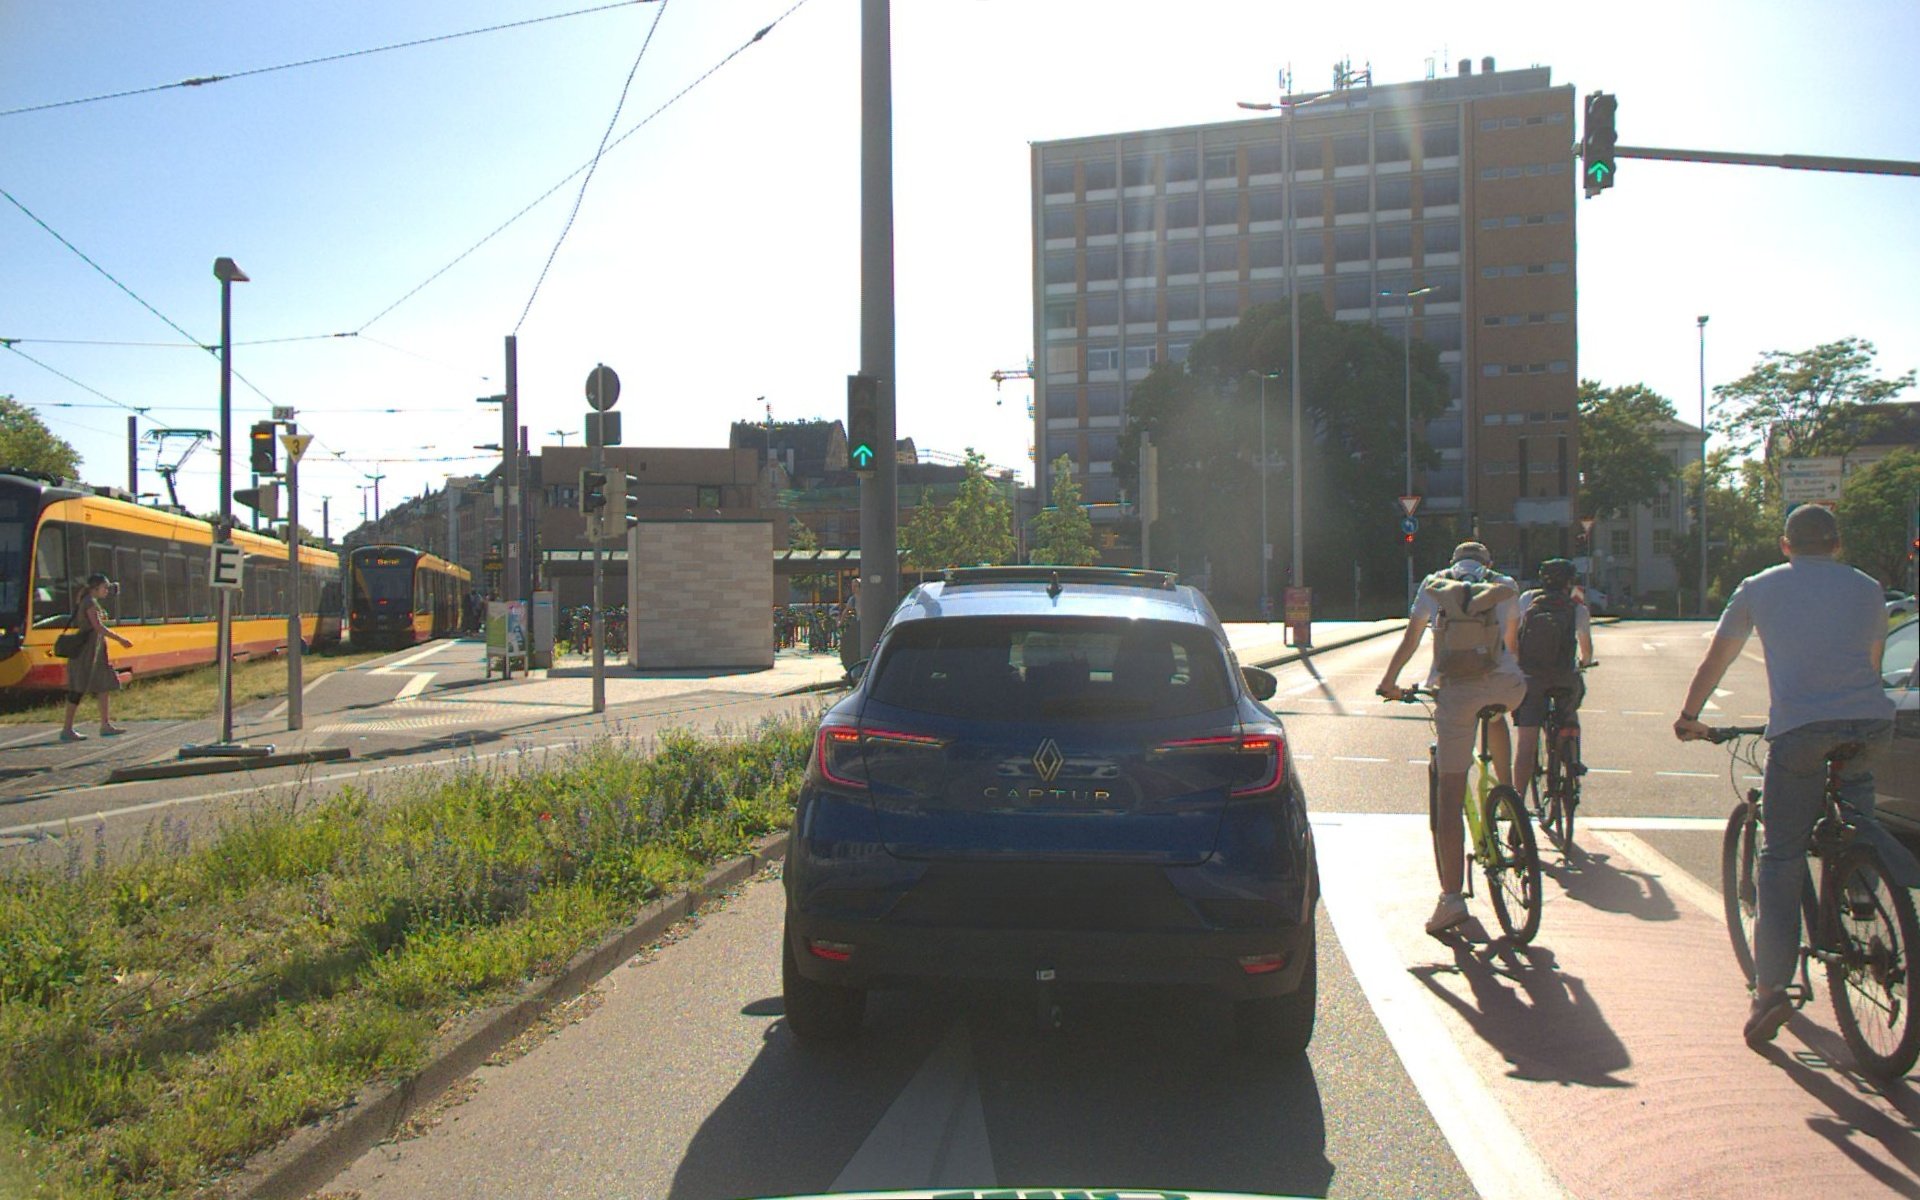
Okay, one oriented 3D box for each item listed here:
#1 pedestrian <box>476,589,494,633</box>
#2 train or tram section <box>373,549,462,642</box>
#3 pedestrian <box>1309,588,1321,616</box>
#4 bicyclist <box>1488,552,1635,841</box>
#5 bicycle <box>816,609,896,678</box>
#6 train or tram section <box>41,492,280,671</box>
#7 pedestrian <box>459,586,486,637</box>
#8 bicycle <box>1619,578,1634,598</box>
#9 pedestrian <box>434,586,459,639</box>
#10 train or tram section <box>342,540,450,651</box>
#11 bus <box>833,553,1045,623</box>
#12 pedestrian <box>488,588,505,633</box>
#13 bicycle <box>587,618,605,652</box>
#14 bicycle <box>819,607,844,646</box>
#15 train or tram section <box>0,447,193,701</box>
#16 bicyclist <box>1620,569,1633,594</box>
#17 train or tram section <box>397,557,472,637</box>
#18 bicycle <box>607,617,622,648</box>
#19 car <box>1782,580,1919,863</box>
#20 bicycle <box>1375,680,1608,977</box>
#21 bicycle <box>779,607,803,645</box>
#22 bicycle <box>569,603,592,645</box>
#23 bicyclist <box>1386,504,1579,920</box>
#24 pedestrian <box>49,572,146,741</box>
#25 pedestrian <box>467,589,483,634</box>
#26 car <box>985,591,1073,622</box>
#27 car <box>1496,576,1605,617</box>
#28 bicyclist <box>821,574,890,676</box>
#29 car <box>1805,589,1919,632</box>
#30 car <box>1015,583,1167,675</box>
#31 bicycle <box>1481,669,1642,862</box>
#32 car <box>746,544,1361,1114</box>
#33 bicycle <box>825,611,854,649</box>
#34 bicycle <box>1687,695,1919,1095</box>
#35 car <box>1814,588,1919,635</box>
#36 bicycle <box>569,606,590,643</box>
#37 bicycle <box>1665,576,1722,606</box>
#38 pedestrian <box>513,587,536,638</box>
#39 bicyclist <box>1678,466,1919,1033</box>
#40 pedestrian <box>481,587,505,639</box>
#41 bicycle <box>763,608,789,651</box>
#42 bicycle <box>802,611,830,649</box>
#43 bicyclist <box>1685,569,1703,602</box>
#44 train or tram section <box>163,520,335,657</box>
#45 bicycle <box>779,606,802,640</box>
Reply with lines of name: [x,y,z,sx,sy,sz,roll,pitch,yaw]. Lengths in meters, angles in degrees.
pedestrian: [-20.889,0.485,72.722,0.688,1.889,0.632,1,-1,-12]
train or tram section: [-22.455,-0.171,68.914,2.823,3.569,10.502,0,0,-14]
pedestrian: [21.319,0.113,99.239,0.551,1.699,0.474,-1,-2,36]
bicyclist: [3.633,0.548,10.065,0.706,1.654,1.056,1,0,13]
bicycle: [-1.738,0.721,27.904,0.756,1.099,2.037,-1,-1,13]
train or tram section: [-18.151,-0.358,38.381,2.768,3.569,10.573,0,0,-14]
pedestrian: [-18.224,0.429,61.812,0.591,1.889,0.794,0,-1,19]
bicycle: [38.561,-0.705,95.649,0.597,1.112,1.669,-1,0,29]
pedestrian: [-18.739,0.468,60.359,0.833,1.916,0.757,1,-1,-16]
train or tram section: [-19.876,-0.145,58.820,2.823,3.569,10.502,0,0,-14]
bus: [-1.275,-0.529,86.739,12.212,3.455,2.868,-1,-2,40]
pedestrian: [-19.833,0.455,70.802,0.621,1.889,0.701,1,-1,-11]
bicycle: [-10.451,1.000,47.451,0.415,0.954,1.300,1,0,-15]
bicycle: [-3.790,0.775,48.691,0.570,1.107,2.054,1,-1,-9]
train or tram section: [-15.581,-0.346,28.128,2.771,3.569,10.437,-1,0,-15]
bicyclist: [38.564,-1.071,95.656,0.606,1.469,0.818,-1,0,29]
train or tram section: [-25.011,-0.163,79.100,2.823,3.569,10.502,0,0,-14]
bicycle: [-10.957,1.017,52.465,0.414,0.954,1.375,1,0,-12]
car: [6.238,0.685,9.445,1.718,1.568,3.662,1,0,9]
bicycle: [2.381,0.966,7.618,0.648,1.065,1.892,0,1,6]
bicycle: [-4.975,0.766,48.601,0.570,1.107,2.054,1,-1,-9]
bicycle: [-10.492,0.664,45.733,0.556,1.112,2.023,1,-1,-11]
bicyclist: [2.372,0.480,7.607,0.649,1.778,1.006,0,0,6]
pedestrian: [-9.962,0.626,19.132,0.887,1.882,0.759,-1,2,-22]
pedestrian: [-20.611,0.491,70.273,0.623,1.889,0.699,1,-1,-20]
car: [3.630,0.372,86.883,4.326,1.548,1.961,-1,-1,38]
car: [26.136,-0.152,73.335,4.147,1.596,1.825,-3,0,4]
bicyclist: [-1.756,0.426,27.925,0.861,1.673,1.061,-1,-1,13]
car: [41.950,0.509,76.884,4.570,1.933,1.993,0,-1,35]
car: [2.478,0.482,30.312,1.762,1.417,4.095,-1,2,20]
bicycle: [3.673,0.969,10.241,0.707,0.976,1.885,1,0,13]
car: [0.418,0.655,6.676,1.785,1.628,3.661,1,0,5]
bicycle: [-3.142,0.786,43.057,0.570,0.978,2.054,1,-1,-9]
bicycle: [3.075,0.940,5.871,0.598,1.096,1.831,0,0,14]
car: [40.857,0.523,74.056,4.564,2.049,1.996,0,-1,30]
bicycle: [-11.957,0.776,52.018,0.556,1.112,2.023,1,-1,-11]
bicycle: [38.950,-0.472,87.867,2.746,1.568,0.883,0,-1,25]
pedestrian: [-16.480,0.465,62.592,0.833,1.916,0.757,1,-1,-16]
bicyclist: [3.013,0.477,5.816,0.733,1.807,1.015,0,0,14]
pedestrian: [-17.381,0.499,61.524,0.833,1.916,0.757,1,-1,-16]
bicycle: [-4.735,0.767,42.570,0.570,1.076,1.812,1,-1,-9]
bicycle: [-3.741,0.780,42.961,0.570,0.978,2.054,1,-1,-9]
bicyclist: [38.979,-0.779,87.852,0.841,1.721,0.884,0,-1,24]
train or tram section: [-20.701,-0.297,48.852,2.768,3.569,11.170,0,0,-14]
bicycle: [-5.748,0.783,56.063,0.570,1.107,1.866,1,-1,-11]
